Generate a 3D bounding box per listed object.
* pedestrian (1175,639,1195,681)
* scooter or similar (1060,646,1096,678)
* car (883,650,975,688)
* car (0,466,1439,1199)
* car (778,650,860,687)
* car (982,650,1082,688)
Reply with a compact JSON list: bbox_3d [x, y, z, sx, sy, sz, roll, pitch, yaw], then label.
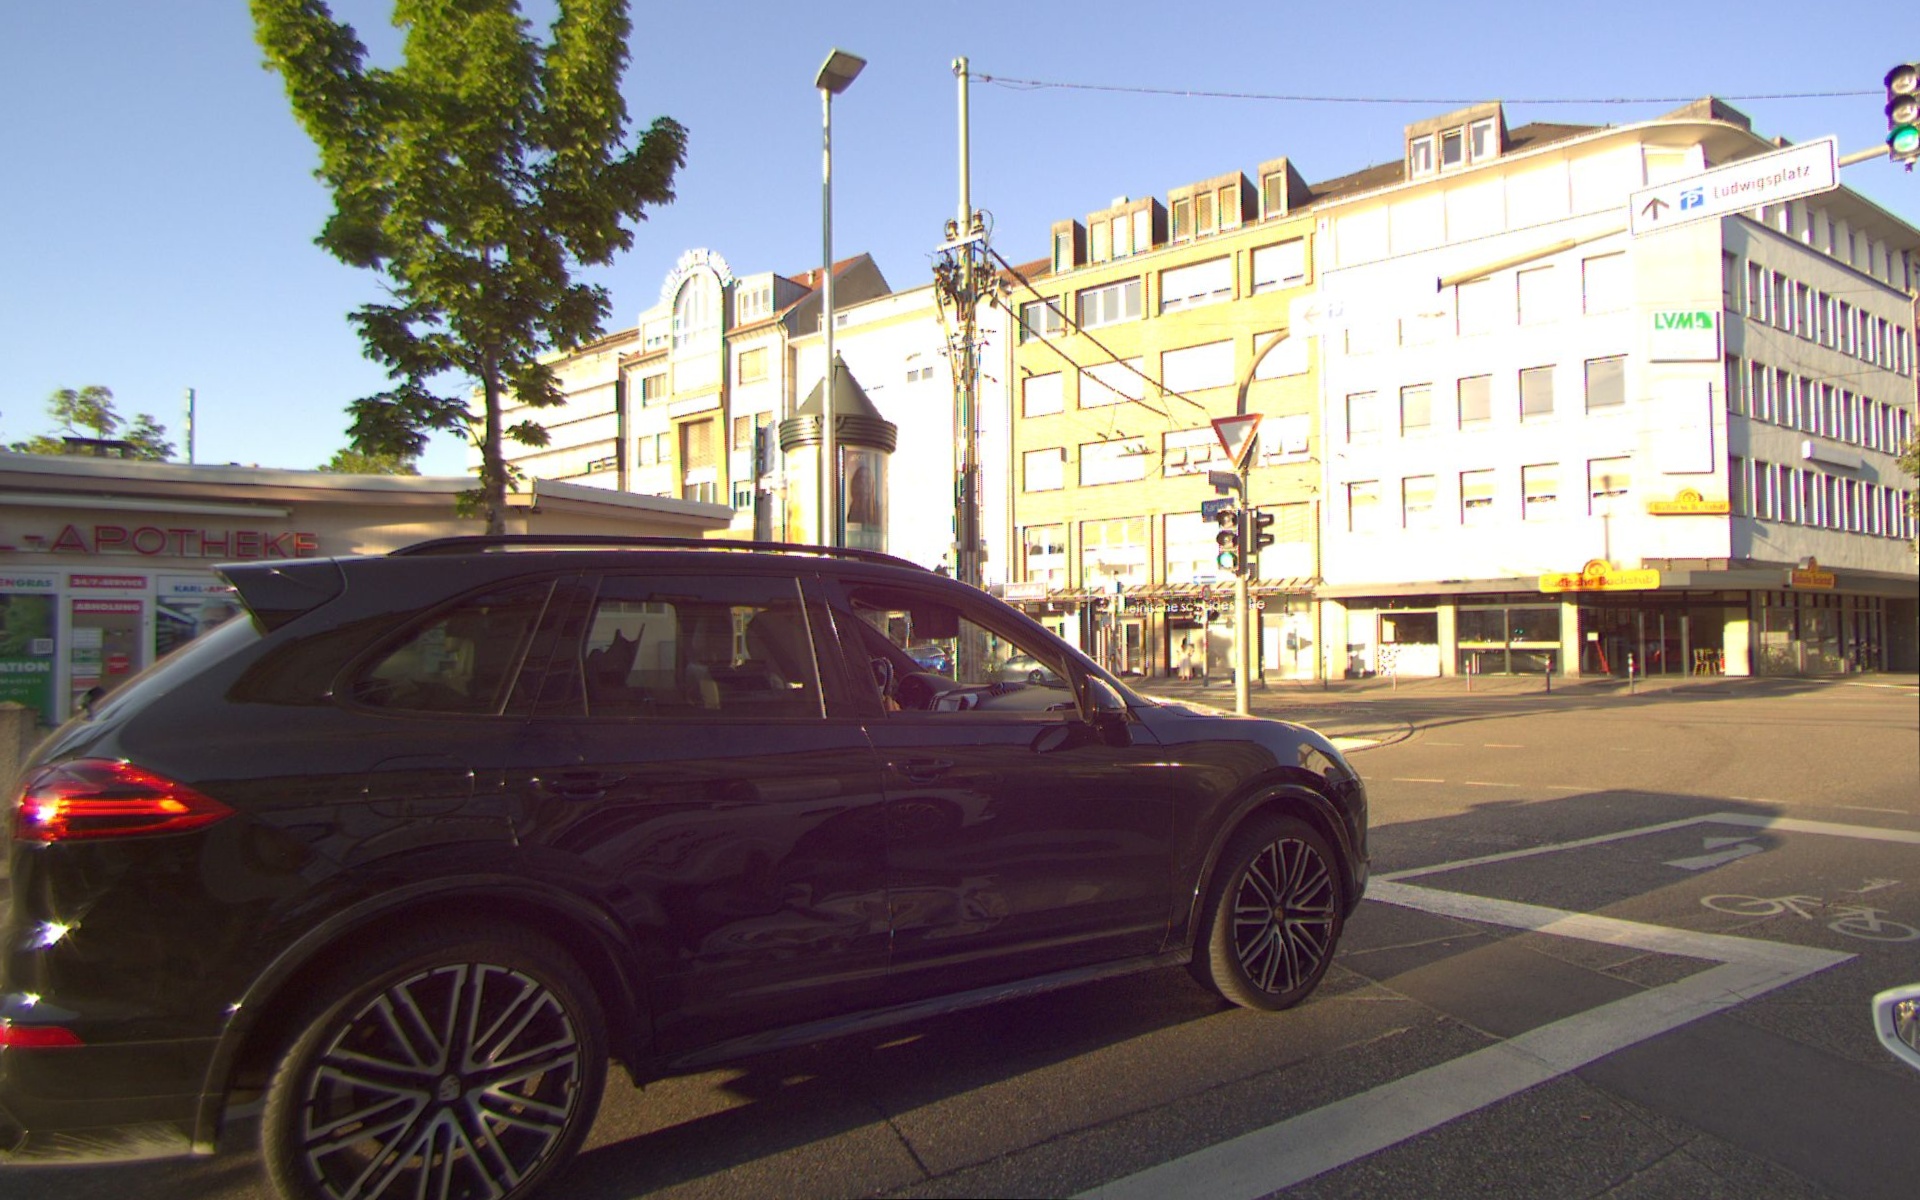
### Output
[{"bbox_3d":[8.341,2.224,37.284,0.613,1.491,0.544,-2,0,20],"label":"pedestrian"},{"bbox_3d":[4.795,2.518,40.850,1.443,1.275,0.394,-3,-2,37],"label":"scooter or similar"},{"bbox_3d":[-1.237,2.730,39.946,3.334,1.371,1.631,-3,-1,36],"label":"car"},{"bbox_3d":[-0.415,0.669,3.775,4.516,1.720,1.792,1,-2,-31],"label":"car"},{"bbox_3d":[-6.190,2.998,43.935,3.334,1.483,1.631,-3,-1,36],"label":"car"},{"bbox_3d":[2.673,2.566,37.566,3.334,1.270,1.631,-3,-1,36],"label":"car"}]
